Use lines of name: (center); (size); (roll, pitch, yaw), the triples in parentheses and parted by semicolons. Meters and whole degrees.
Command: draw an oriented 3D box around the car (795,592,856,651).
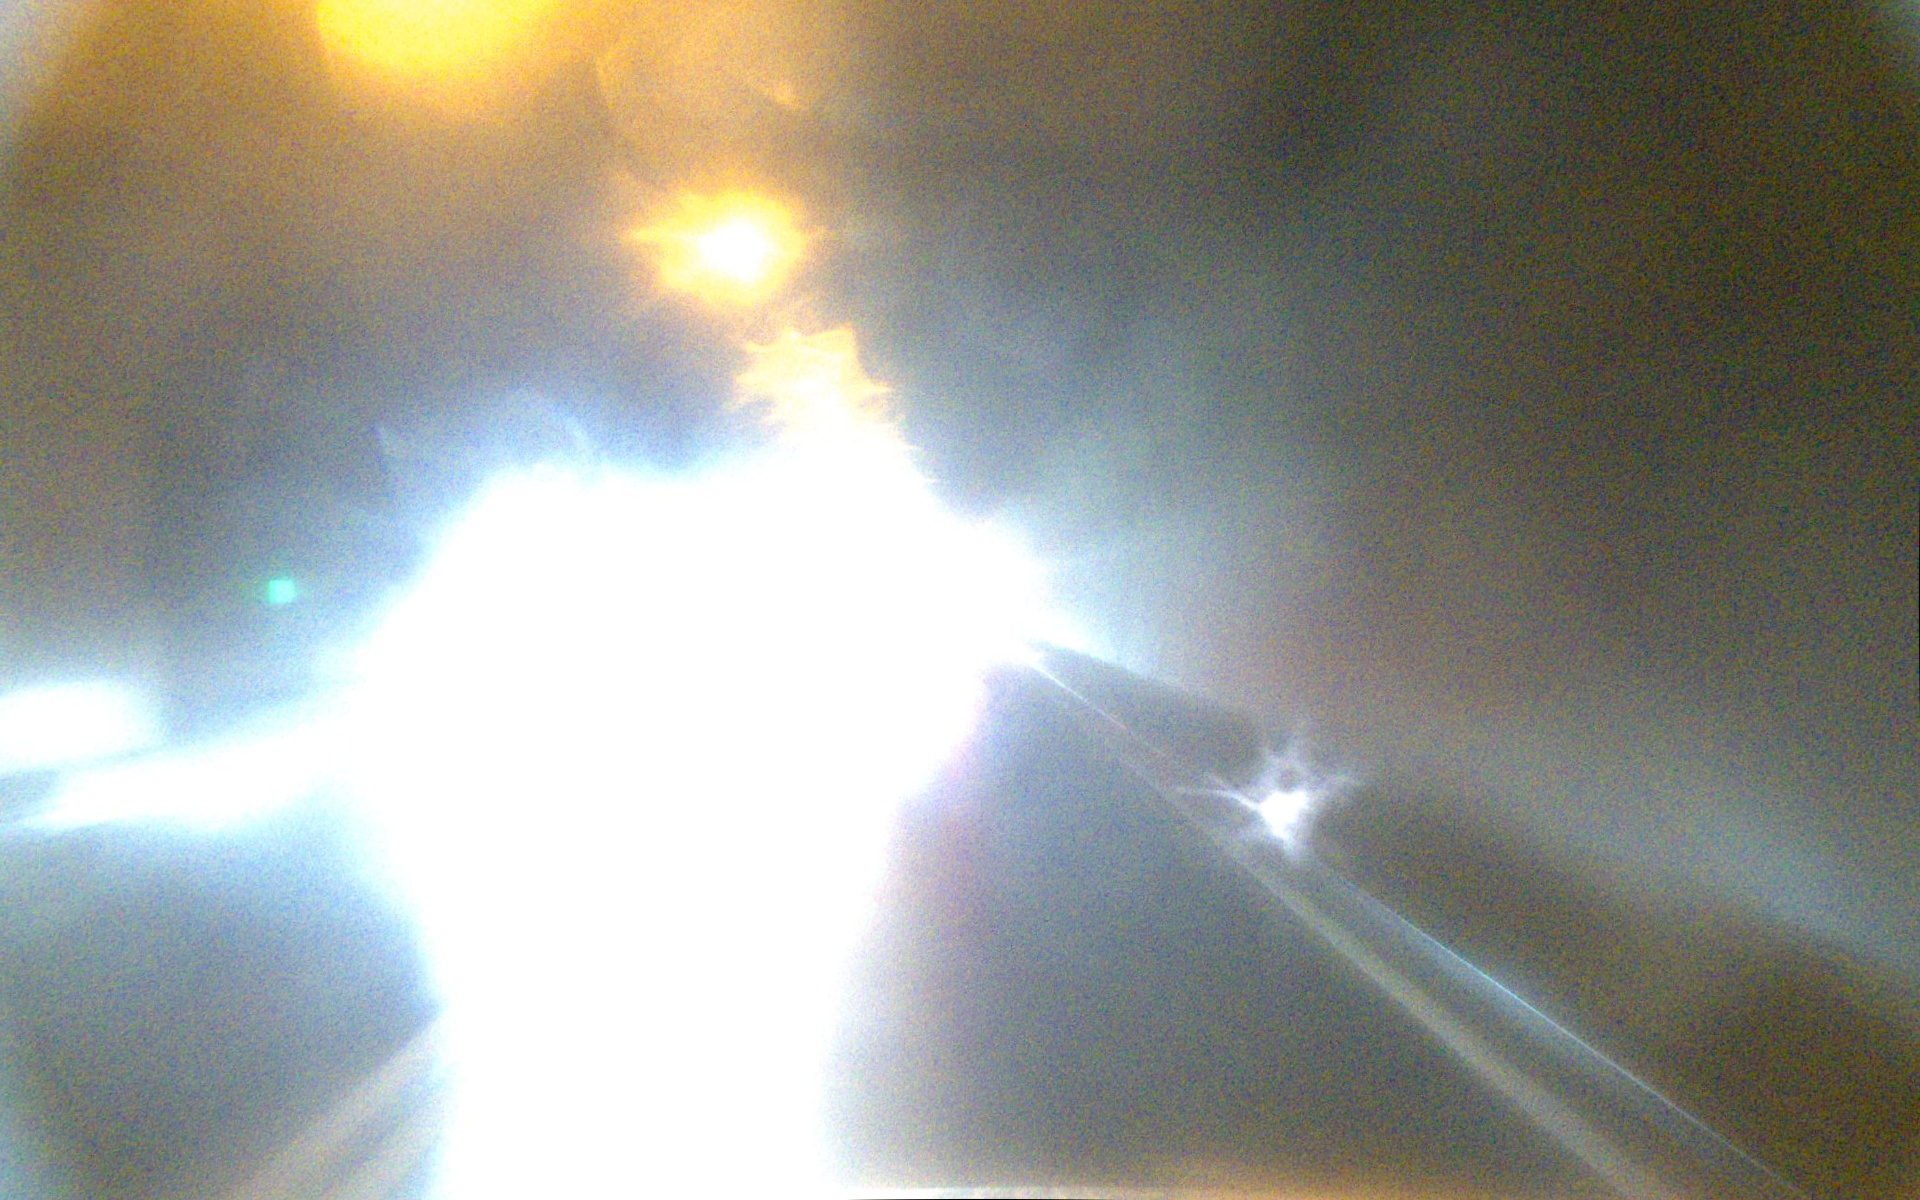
car: (-4.433, 0.702, 54.938); (1.694, 1.823, 3.931); (3, -1, -1)

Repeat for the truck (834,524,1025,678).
truck: (-0.623, 0.008, 34.964); (3.463, 2.740, 8.954); (1, 0, -1)

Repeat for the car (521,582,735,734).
car: (-3.599, 0.566, 18.558); (1.724, 1.506, 3.885); (1, 0, -2)
